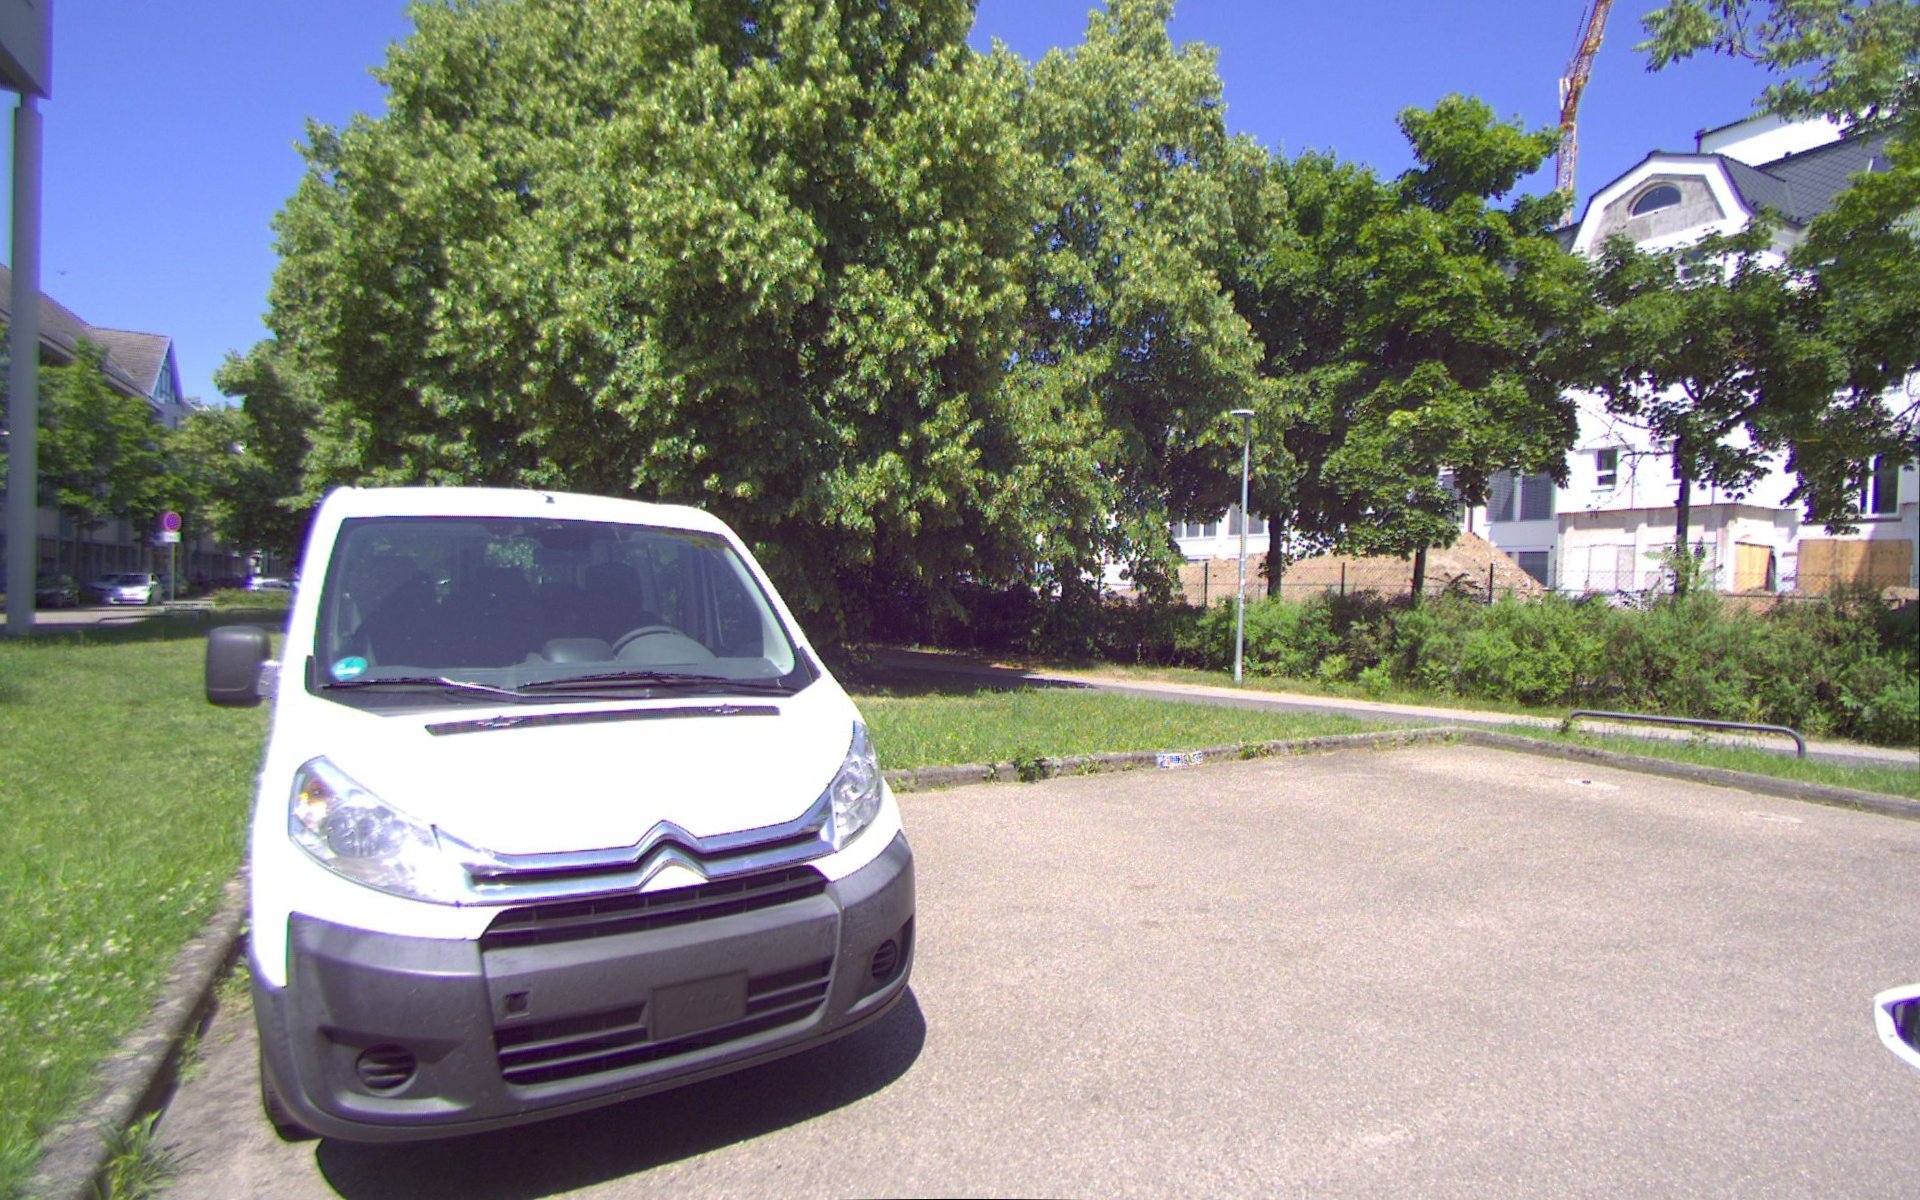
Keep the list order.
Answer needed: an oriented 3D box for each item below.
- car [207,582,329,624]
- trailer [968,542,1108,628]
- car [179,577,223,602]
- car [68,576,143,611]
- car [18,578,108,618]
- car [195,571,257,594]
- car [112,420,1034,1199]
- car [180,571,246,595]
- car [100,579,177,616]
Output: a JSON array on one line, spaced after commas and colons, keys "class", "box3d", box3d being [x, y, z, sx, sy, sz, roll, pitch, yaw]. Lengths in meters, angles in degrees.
[{"class": "car", "box3d": [-29.604, 0.134, 43.121, 4.122, 1.639, 1.960, 2, 1, -30]}, {"class": "trailer", "box3d": [3.314, -0.724, 45.738, 2.996, 3.467, 8.732, 2, 1, -19]}, {"class": "car", "box3d": [-52.136, -0.733, 69.085, 1.954, 1.639, 4.135, 1, 1, -31]}, {"class": "car", "box3d": [-42.727, -0.362, 50.307, 1.952, 1.639, 4.140, 1, 1, -28]}, {"class": "car", "box3d": [-39.674, -0.132, 44.525, 1.951, 1.639, 4.141, 1, 1, -27]}, {"class": "car", "box3d": [-58.770, -1.392, 80.500, 3.959, 1.756, 1.775, 1, 1, -34]}, {"class": "car", "box3d": [-1.879, 0.583, 4.348, 1.978, 1.937, 4.762, -2, 2, -32]}, {"class": "car", "box3d": [-58.008, -1.321, 78.088, 3.959, 1.756, 1.775, 1, 1, -34]}, {"class": "car", "box3d": [-39.230, -0.161, 48.067, 1.951, 1.639, 4.141, 1, 1, -27]}]
